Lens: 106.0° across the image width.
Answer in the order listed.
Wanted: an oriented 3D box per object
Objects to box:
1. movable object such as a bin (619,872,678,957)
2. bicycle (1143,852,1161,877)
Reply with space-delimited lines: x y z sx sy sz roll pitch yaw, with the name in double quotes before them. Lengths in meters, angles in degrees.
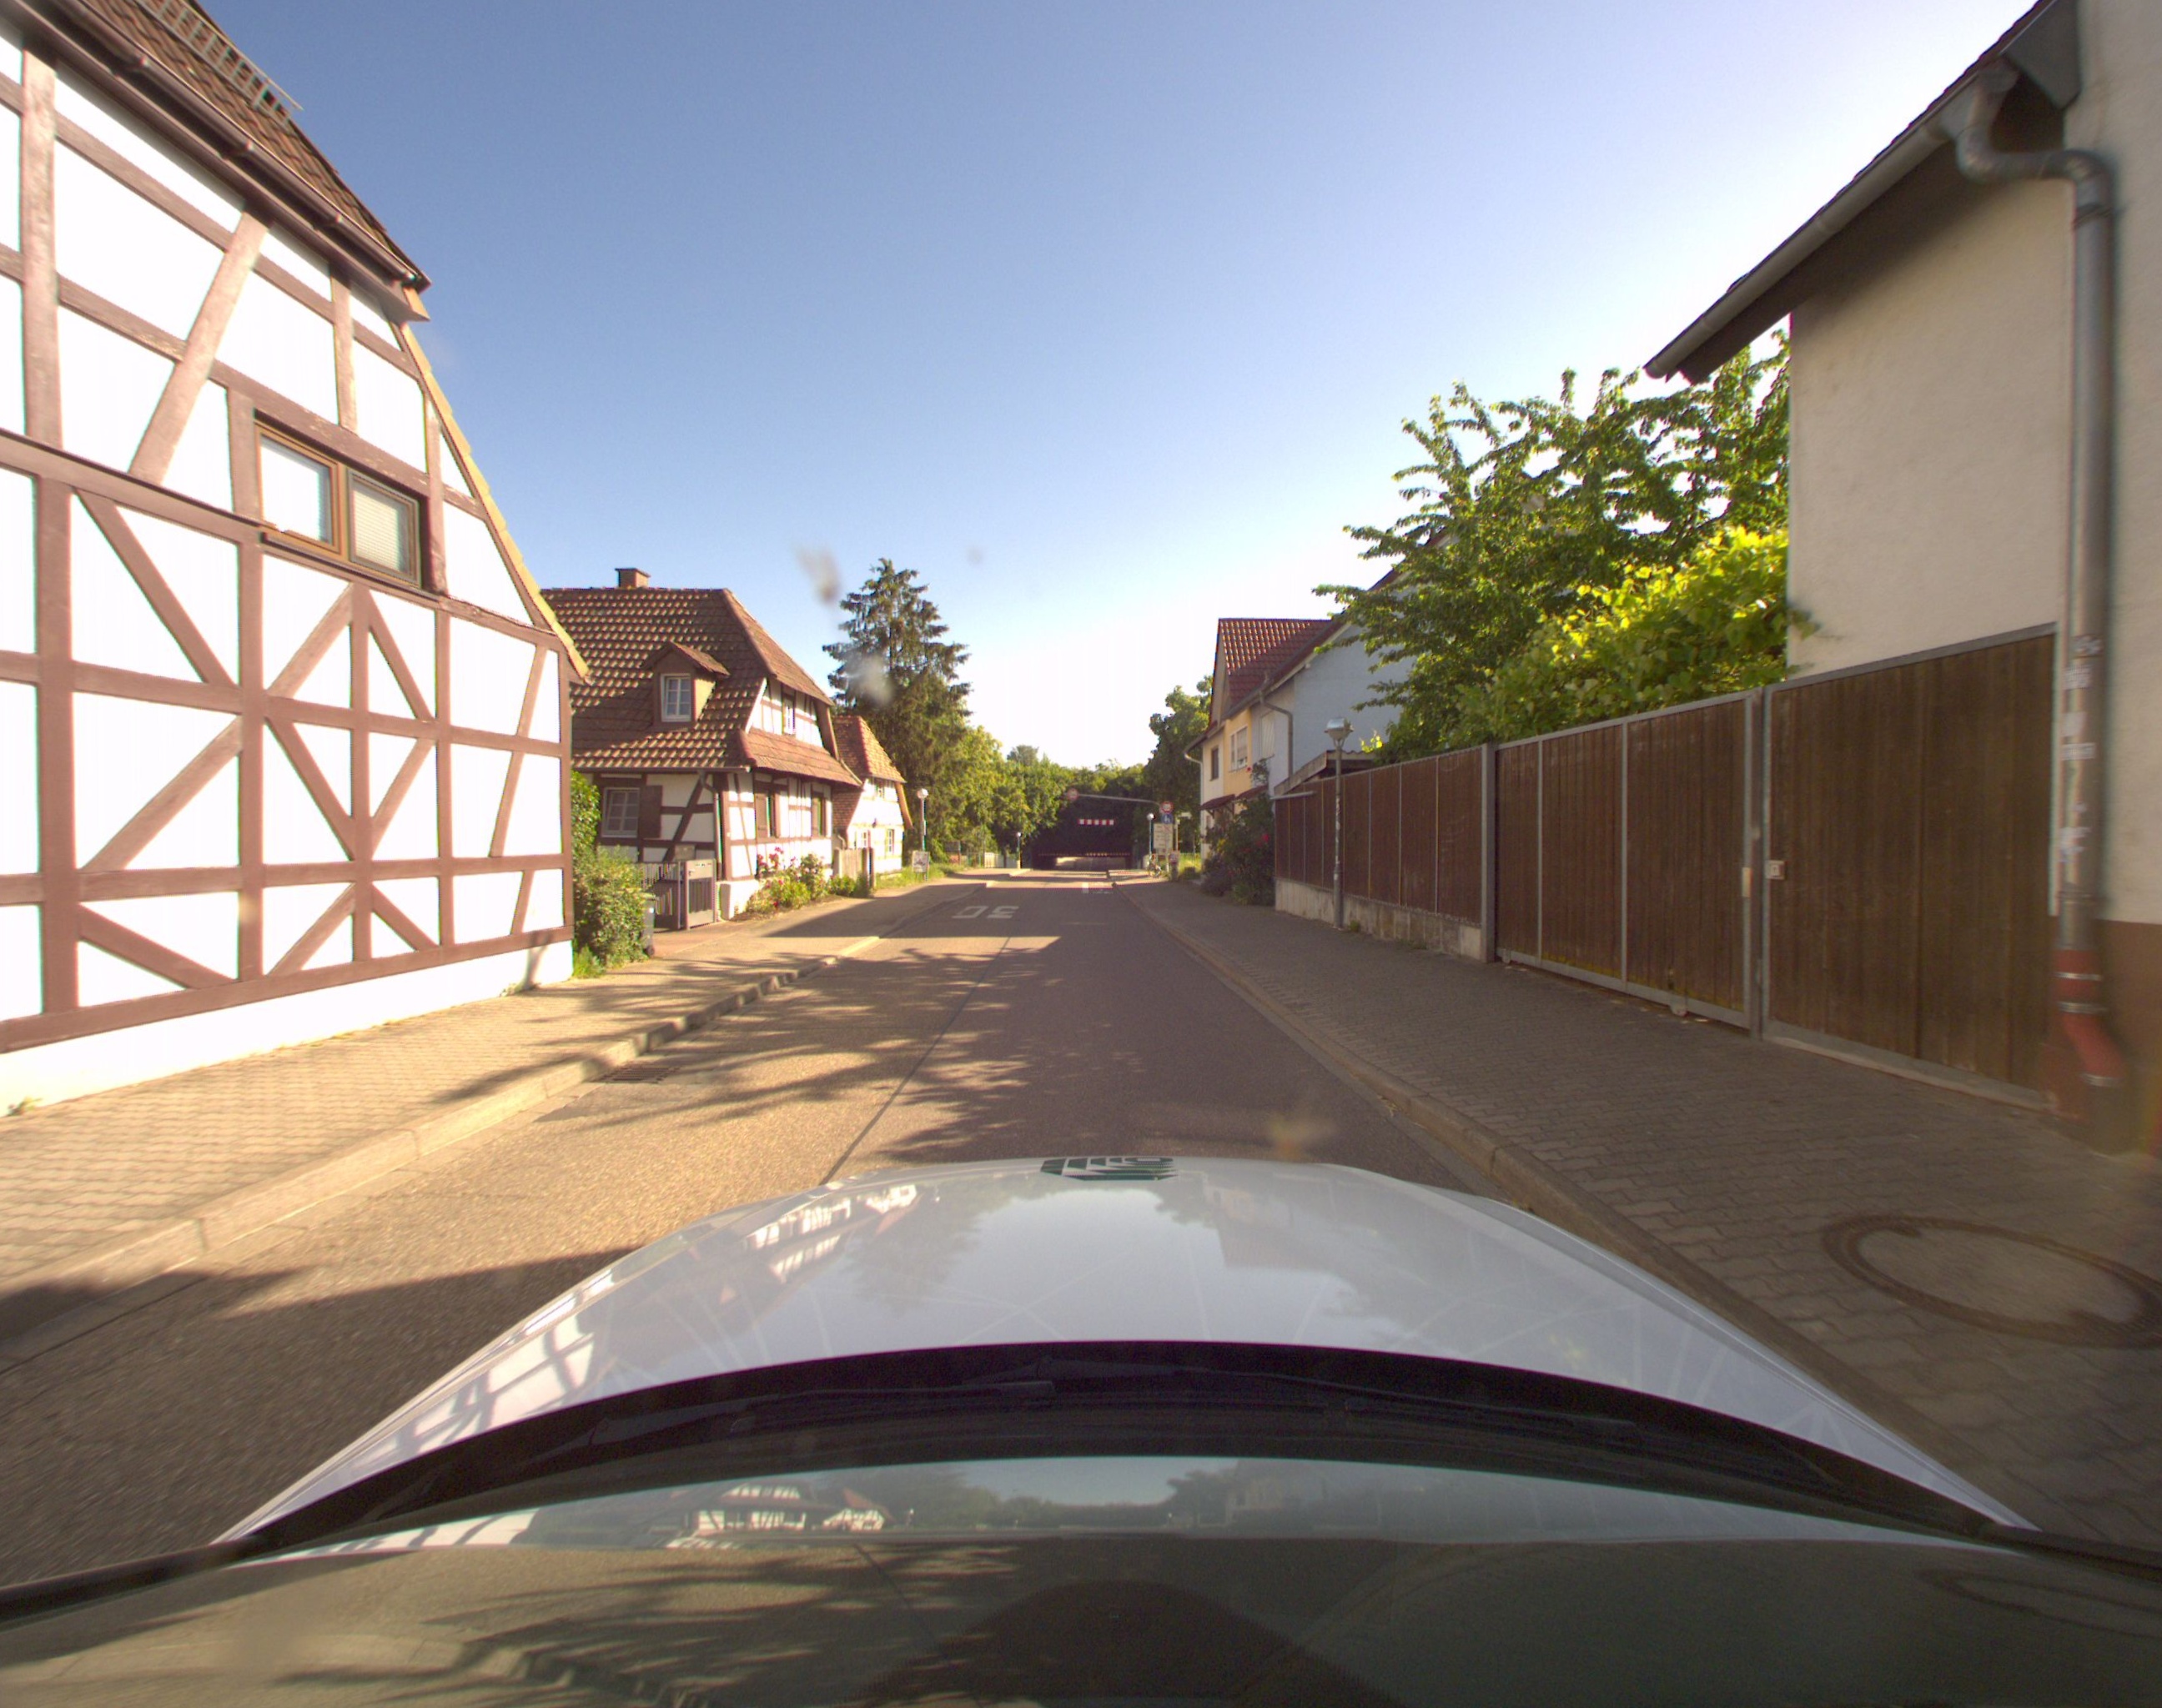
"movable object such as a bin" -6.113 0.839 11.531 0.475 1.140 0.667 -1 0 0
"bicycle" 3.513 0.503 40.341 0.686 1.157 1.539 -5 1 0
